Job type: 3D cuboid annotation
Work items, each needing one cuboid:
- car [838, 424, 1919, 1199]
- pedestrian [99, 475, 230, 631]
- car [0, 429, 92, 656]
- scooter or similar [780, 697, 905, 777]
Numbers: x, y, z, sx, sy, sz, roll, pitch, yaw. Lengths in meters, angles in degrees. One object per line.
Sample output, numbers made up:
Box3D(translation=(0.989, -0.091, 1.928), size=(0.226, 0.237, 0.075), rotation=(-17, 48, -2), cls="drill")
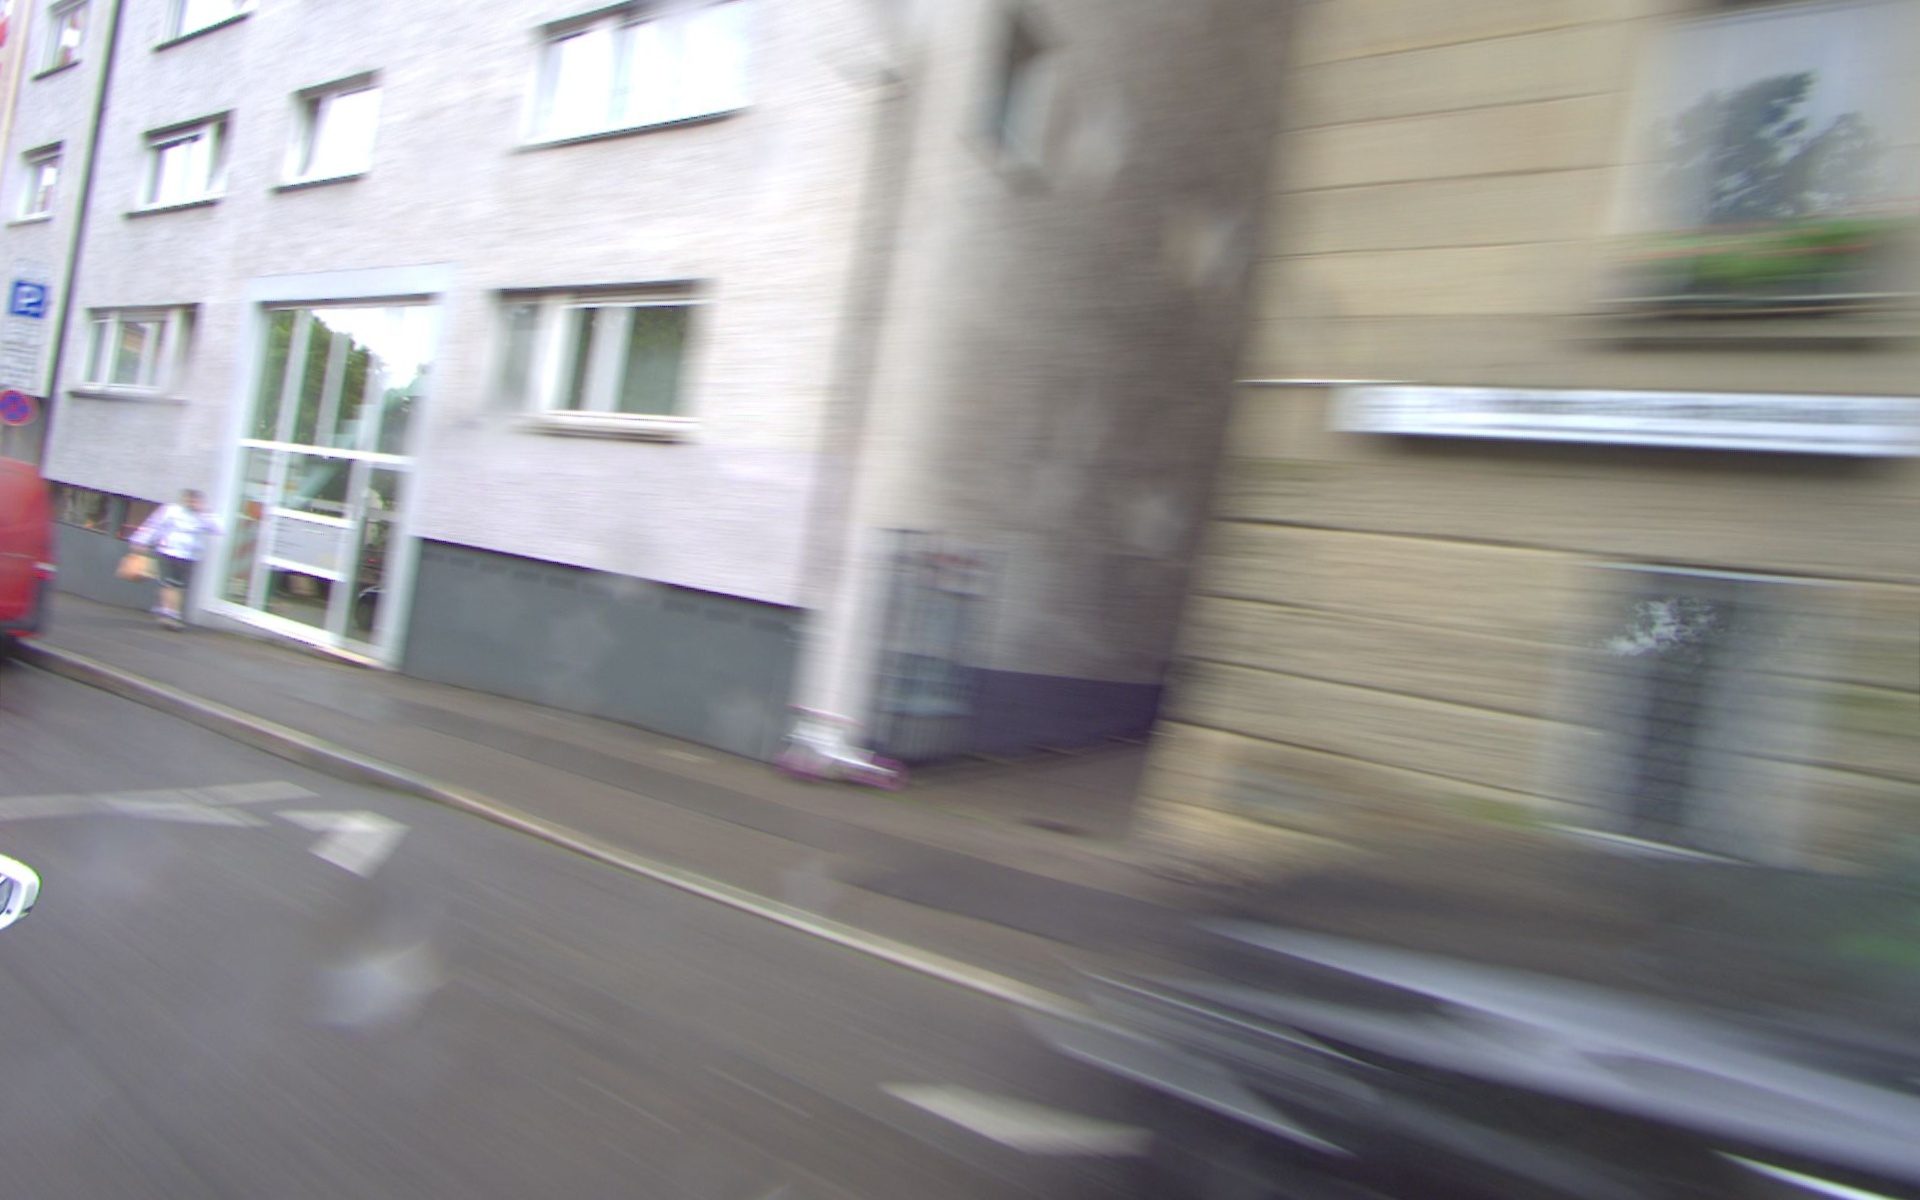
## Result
Box3D(translation=(2.162, 0.868, 1.243), size=(4.425, 1.728, 1.769), rotation=(7, -2, 33), cls="car")
Box3D(translation=(-9.940, -0.576, 12.588), size=(0.823, 1.777, 0.853), rotation=(7, -2, 32), cls="pedestrian")
Box3D(translation=(-10.457, -0.760, 9.293), size=(5.157, 1.859, 1.979), rotation=(6, -2, 30), cls="car")
Box3D(translation=(-0.877, 1.030, 7.545), size=(0.851, 0.512, 0.256), rotation=(8, -1, -28), cls="scooter or similar")
